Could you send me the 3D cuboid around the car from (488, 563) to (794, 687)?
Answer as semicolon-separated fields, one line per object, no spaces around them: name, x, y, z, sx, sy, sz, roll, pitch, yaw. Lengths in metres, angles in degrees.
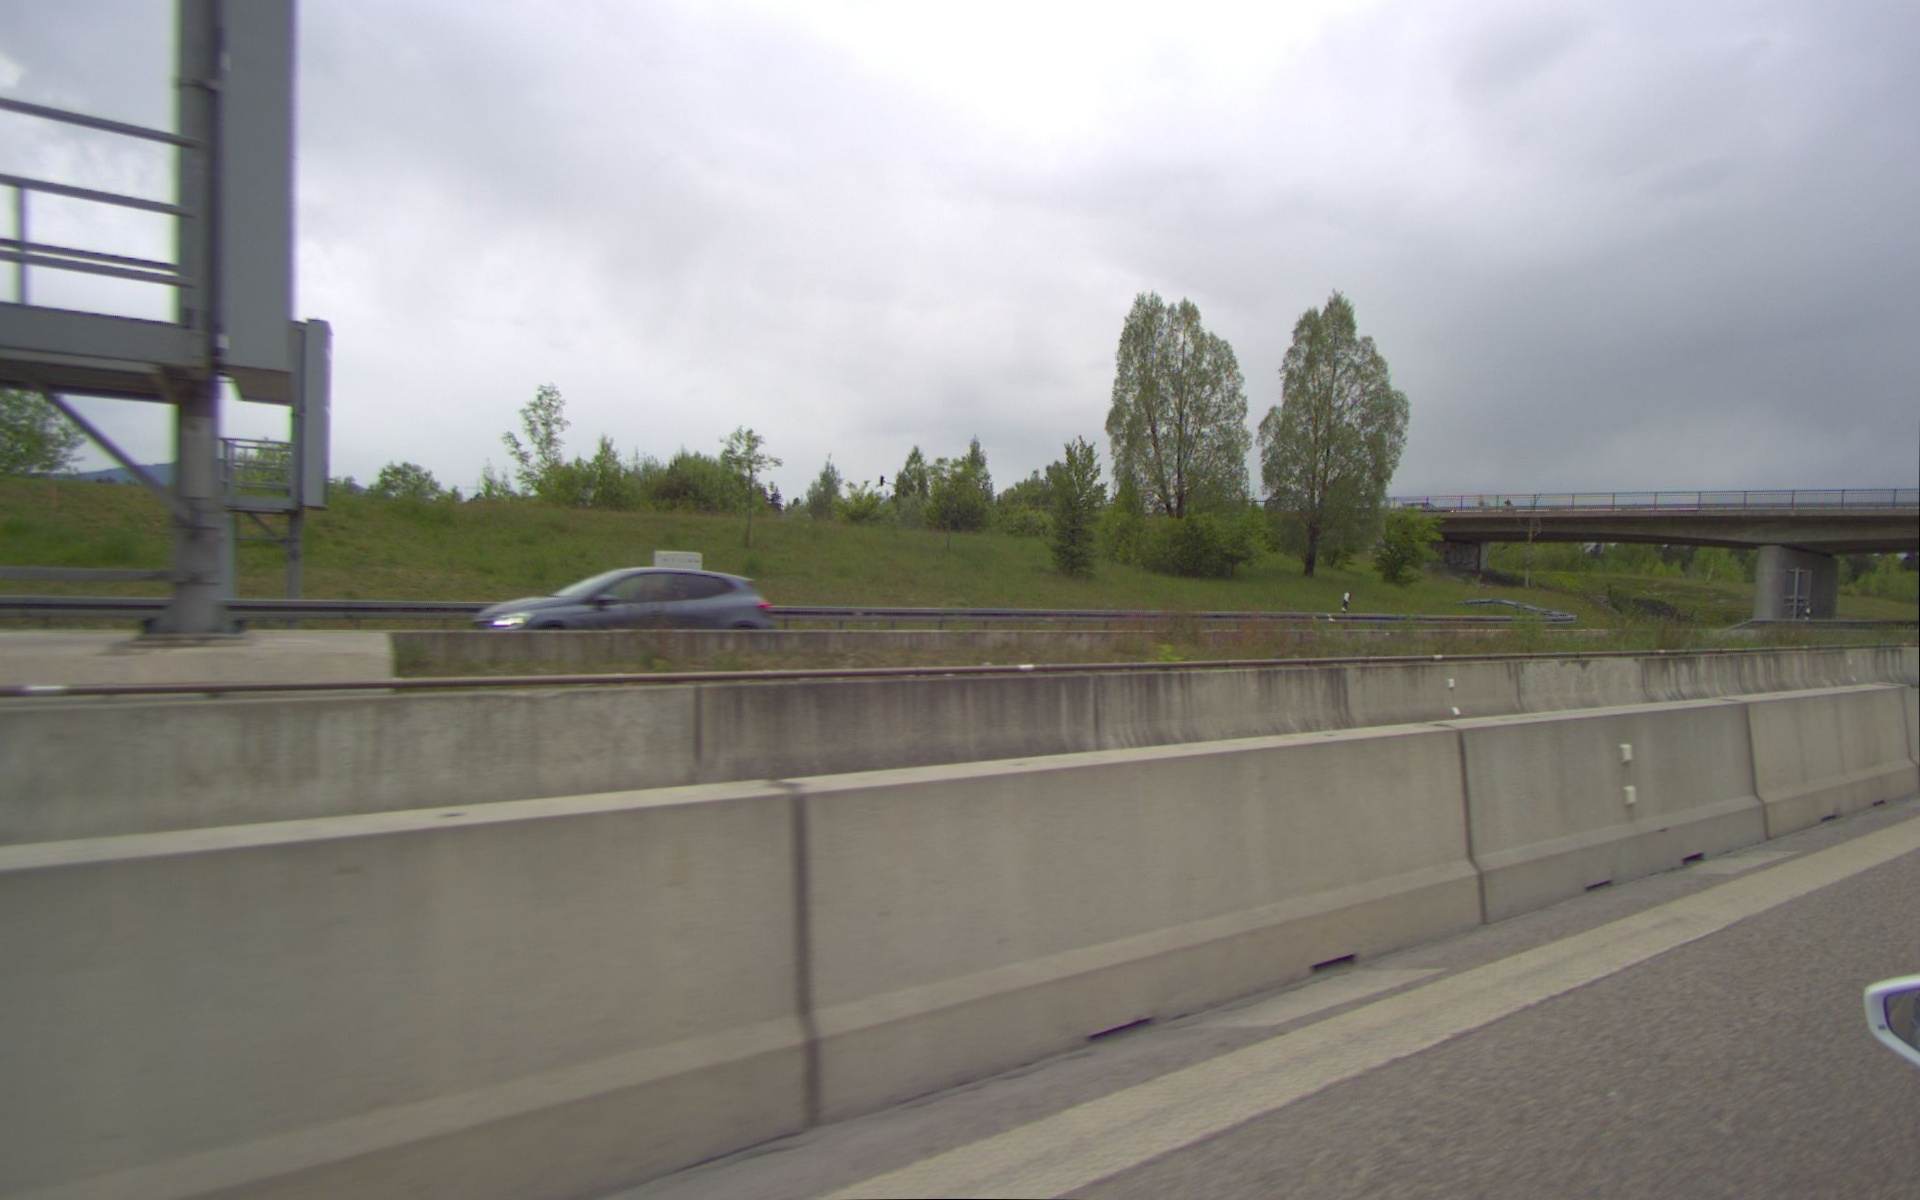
car;-4.424;0.327;14.110;3.798;1.521;1.597;1;1;-34
